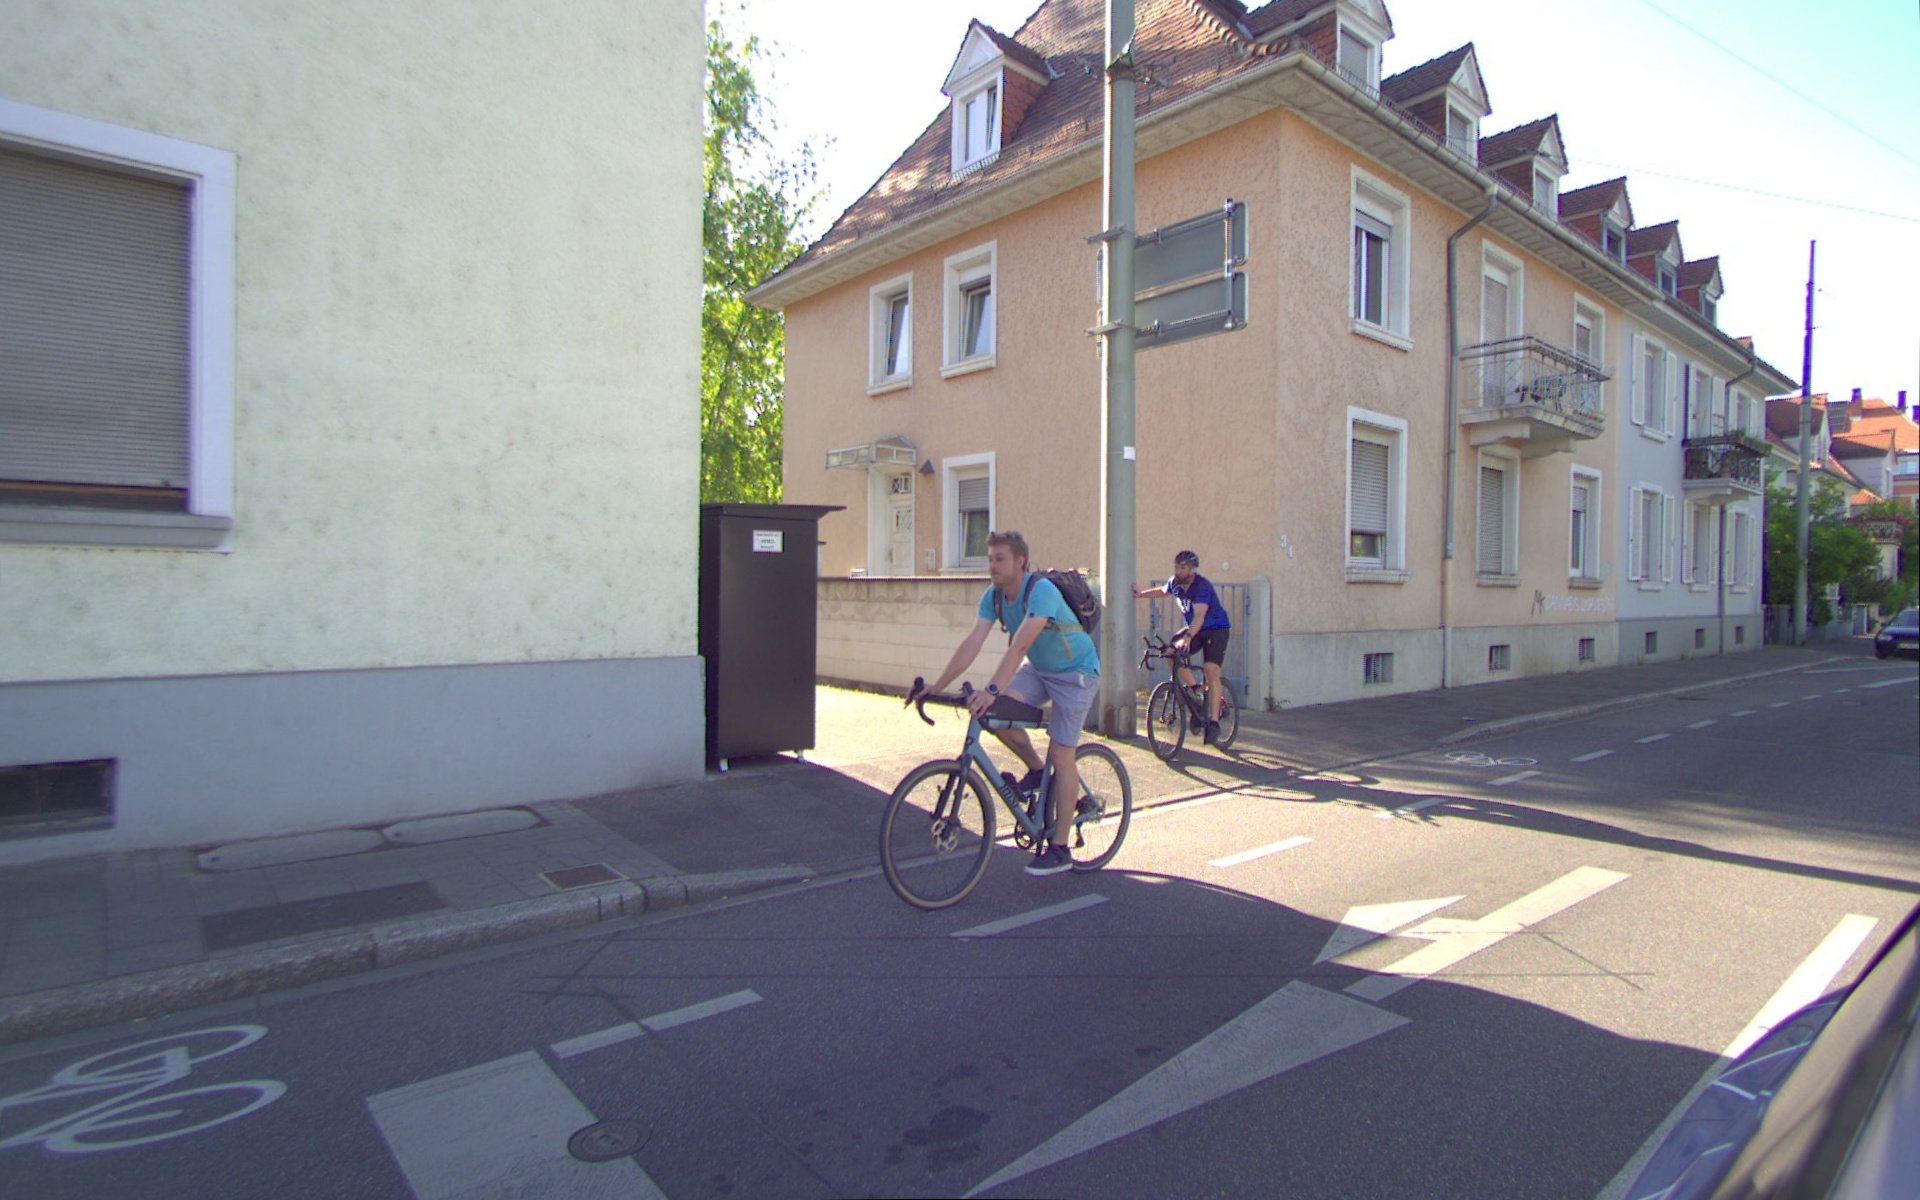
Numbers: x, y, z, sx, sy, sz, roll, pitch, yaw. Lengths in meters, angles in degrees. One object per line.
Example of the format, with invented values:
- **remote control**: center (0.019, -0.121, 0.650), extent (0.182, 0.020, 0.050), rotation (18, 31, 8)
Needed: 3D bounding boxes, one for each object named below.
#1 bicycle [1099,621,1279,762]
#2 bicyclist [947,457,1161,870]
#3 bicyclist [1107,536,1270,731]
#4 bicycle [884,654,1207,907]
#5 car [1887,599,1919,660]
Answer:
- **bicycle**: center (2.101, 0.773, 9.153), extent (1.744, 1.081, 0.592), rotation (0, 5, -41)
- **bicyclist**: center (0.500, 0.312, 5.291), extent (0.928, 1.959, 0.519), rotation (4, -2, -37)
- **bicyclist**: center (2.112, 0.270, 9.400), extent (0.870, 1.627, 1.052), rotation (1, 5, -41)
- **bicycle**: center (0.500, 0.856, 5.296), extent (1.762, 1.105, 0.519), rotation (3, -1, -37)
- **car**: center (26.710, 0.753, 27.370), extent (3.742, 1.601, 1.696), rotation (0, -1, -36)
